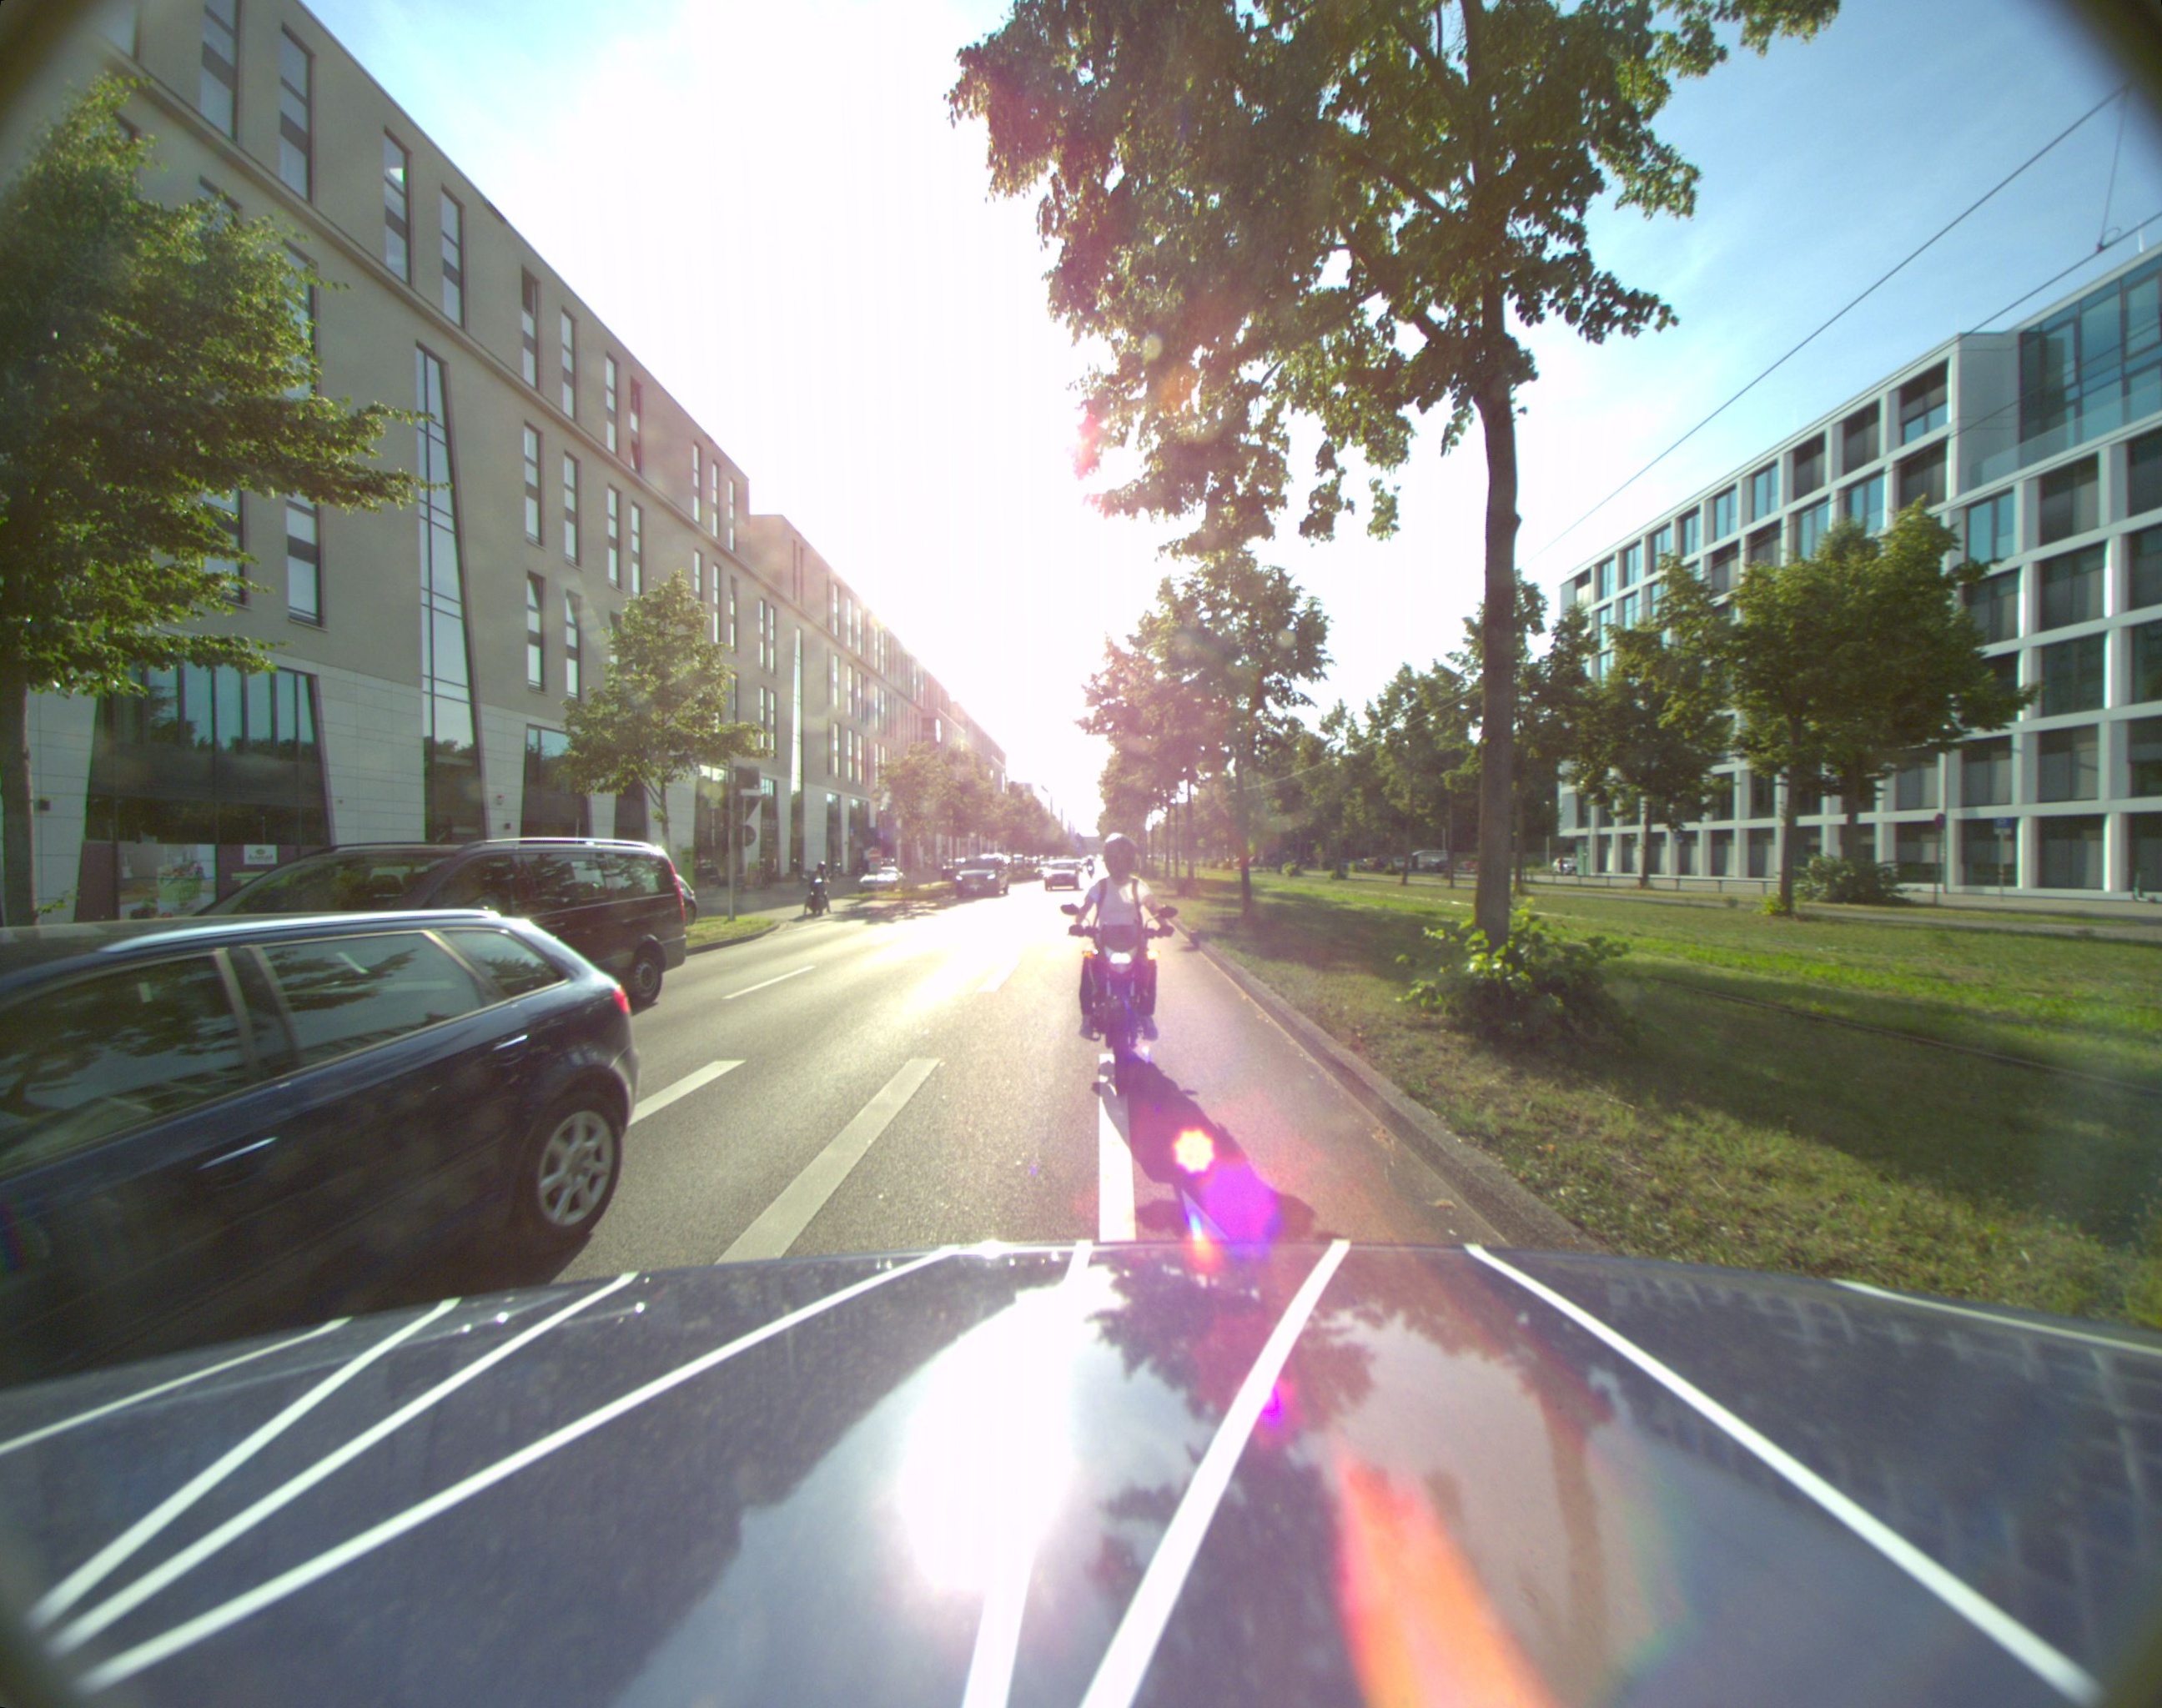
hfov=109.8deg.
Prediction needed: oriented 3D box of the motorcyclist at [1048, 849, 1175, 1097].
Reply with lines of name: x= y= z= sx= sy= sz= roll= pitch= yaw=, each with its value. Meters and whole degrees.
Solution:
motorcyclist: x=0.219 y=0.825 z=5.700 sx=0.814 sy=1.700 sz=0.843 roll=-2 pitch=1 yaw=1

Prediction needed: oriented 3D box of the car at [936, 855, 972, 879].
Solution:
car: x=-9.937 y=1.006 z=59.768 sx=1.902 sy=1.698 sz=4.678 roll=-2 pitch=0 yaw=0

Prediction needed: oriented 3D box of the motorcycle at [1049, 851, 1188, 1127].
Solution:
motorcycle: x=0.252 y=0.836 z=6.011 sx=0.798 sy=1.659 sz=2.634 roll=-2 pitch=1 yaw=1

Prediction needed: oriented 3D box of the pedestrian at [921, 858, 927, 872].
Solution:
pedestrian: x=-18.145 y=1.252 z=87.727 sx=0.515 sy=1.513 sz=0.597 roll=-2 pitch=1 yaw=1

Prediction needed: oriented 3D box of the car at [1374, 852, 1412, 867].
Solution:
car: x=38.329 y=0.644 z=93.399 sx=4.001 sy=1.633 sz=1.758 roll=-2 pitch=1 yaw=2

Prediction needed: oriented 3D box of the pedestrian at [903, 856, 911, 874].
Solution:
pedestrian: x=-17.146 y=1.066 z=74.892 sx=0.538 sy=1.752 sz=0.646 roll=-2 pitch=1 yaw=2

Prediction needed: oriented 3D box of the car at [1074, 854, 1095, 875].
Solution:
car: x=0.324 y=0.865 z=62.831 sx=1.644 sy=1.553 sz=3.734 roll=-2 pitch=1 yaw=1

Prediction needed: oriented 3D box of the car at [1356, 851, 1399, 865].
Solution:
car: x=40.237 y=0.548 z=103.097 sx=5.071 sy=1.725 sz=1.886 roll=-2 pitch=1 yaw=4

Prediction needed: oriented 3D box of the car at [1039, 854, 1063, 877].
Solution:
car: x=-2.544 y=0.933 z=64.783 sx=1.777 sy=1.805 sz=3.999 roll=-2 pitch=1 yaw=1

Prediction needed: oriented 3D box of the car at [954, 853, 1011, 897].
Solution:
car: x=-4.560 y=0.918 z=35.767 sx=1.864 sy=1.856 sz=4.778 roll=-2 pitch=1 yaw=1

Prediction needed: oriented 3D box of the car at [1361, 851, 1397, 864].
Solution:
car: x=39.477 y=0.508 z=100.736 sx=3.996 sy=1.551 sz=1.856 roll=-2 pitch=1 yaw=4

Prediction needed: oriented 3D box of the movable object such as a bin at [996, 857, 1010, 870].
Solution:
movable object such as a bin: x=-8.346 y=1.020 z=81.259 sx=1.280 sy=1.284 sz=1.178 roll=-2 pitch=1 yaw=-1

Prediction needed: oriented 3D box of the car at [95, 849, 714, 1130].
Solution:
car: x=-5.889 y=0.944 z=7.721 sx=1.803 sy=1.880 sz=4.821 roll=-2 pitch=1 yaw=2

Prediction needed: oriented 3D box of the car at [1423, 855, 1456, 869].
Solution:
car: x=37.980 y=0.828 z=80.604 sx=1.683 sy=1.385 sz=3.761 roll=-2 pitch=1 yaw=-1

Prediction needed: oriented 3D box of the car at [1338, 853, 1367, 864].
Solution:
car: x=40.369 y=0.722 z=113.026 sx=3.865 sy=1.477 sz=1.745 roll=-2 pitch=1 yaw=9

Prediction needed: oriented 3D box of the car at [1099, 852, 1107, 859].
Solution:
car: x=6.354 y=0.479 z=220.691 sx=1.998 sy=1.736 sz=3.999 roll=-2 pitch=1 yaw=1

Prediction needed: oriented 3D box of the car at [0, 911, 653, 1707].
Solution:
car: x=-2.982 y=1.040 z=1.596 sx=1.756 sy=1.427 sz=4.035 roll=-2 pitch=1 yaw=1

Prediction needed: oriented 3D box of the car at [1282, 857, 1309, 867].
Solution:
car: x=33.192 y=1.230 z=117.802 sx=1.689 sy=1.427 sz=4.026 roll=-3 pitch=1 yaw=-28

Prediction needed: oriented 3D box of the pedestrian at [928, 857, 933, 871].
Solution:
pedestrian: x=-17.413 y=1.195 z=87.756 sx=0.540 sy=1.565 sz=0.514 roll=-2 pitch=1 yaw=-13

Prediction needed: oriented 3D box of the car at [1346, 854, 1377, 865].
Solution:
car: x=39.030 y=0.780 z=105.879 sx=3.655 sy=1.420 sz=1.810 roll=-2 pitch=1 yaw=4

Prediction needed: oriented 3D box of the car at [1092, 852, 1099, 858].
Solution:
car: x=4.653 y=0.241 z=240.479 sx=1.998 sy=1.736 sz=3.999 roll=-2 pitch=1 yaw=1

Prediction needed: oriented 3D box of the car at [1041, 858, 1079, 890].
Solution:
car: x=-1.037 y=1.020 z=40.112 sx=1.739 sy=1.499 sz=4.000 roll=-2 pitch=1 yaw=1

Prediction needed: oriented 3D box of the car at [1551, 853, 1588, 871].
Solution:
car: x=48.283 y=0.738 z=75.170 sx=1.851 sy=1.586 sz=4.003 roll=-2 pitch=1 yaw=13

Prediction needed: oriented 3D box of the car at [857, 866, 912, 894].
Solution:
car: x=-10.073 y=1.300 z=39.261 sx=1.712 sy=1.235 sz=3.905 roll=-2 pitch=1 yaw=1

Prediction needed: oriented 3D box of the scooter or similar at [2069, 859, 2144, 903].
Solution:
scooter or similar: x=36.737 y=0.967 z=27.223 sx=1.933 sy=1.468 sz=0.415 roll=-2 pitch=1 yaw=6

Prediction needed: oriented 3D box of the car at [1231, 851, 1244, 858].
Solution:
car: x=31.467 y=0.068 z=152.515 sx=1.834 sy=1.423 sz=4.475 roll=-2 pitch=1 yaw=3

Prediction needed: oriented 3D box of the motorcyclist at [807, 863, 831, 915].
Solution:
motorcyclist: x=-8.378 y=1.106 z=24.300 sx=0.625 sy=1.631 sz=0.417 roll=0 pitch=1 yaw=-2

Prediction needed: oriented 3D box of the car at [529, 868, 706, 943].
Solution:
car: x=-10.637 y=1.114 z=17.837 sx=1.611 sy=1.362 sz=4.156 roll=-2 pitch=1 yaw=-1

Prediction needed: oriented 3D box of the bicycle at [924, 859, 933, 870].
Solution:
bicycle: x=-15.617 y=1.063 z=77.762 sx=0.493 sy=1.110 sz=1.945 roll=0 pitch=1 yaw=2

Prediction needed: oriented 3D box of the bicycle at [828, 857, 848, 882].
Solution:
bicycle: x=-16.899 y=1.050 z=52.915 sx=0.557 sy=1.610 sz=2.212 roll=-2 pitch=1 yaw=3

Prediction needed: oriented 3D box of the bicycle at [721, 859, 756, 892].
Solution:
bicycle: x=-17.403 y=1.068 z=38.645 sx=0.557 sy=1.562 sz=2.276 roll=-2 pitch=1 yaw=3

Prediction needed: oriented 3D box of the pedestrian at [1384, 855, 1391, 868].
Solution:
pedestrian: x=36.574 y=0.905 z=90.636 sx=0.523 sy=1.472 sz=0.568 roll=-2 pitch=1 yaw=1

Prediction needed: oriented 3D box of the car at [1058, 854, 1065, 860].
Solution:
car: x=-5.374 y=0.912 z=211.872 sx=1.840 sy=1.521 sz=4.328 roll=-2 pitch=1 yaw=2

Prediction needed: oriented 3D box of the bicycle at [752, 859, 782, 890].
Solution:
bicycle: x=-17.189 y=1.104 z=41.657 sx=0.557 sy=1.558 sz=2.212 roll=-2 pitch=1 yaw=3

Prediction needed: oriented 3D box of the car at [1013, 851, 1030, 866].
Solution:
car: x=-8.074 y=0.596 z=103.625 sx=1.842 sy=1.865 sz=5.030 roll=-2 pitch=1 yaw=-1

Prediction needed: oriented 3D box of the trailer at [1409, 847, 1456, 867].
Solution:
trailer: x=39.015 y=0.294 z=84.433 sx=4.373 sy=2.042 sz=1.758 roll=-2 pitch=1 yaw=5

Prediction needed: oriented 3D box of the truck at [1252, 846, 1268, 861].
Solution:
truck: x=43.389 y=-0.150 z=184.262 sx=2.894 sy=3.496 sz=7.947 roll=-2 pitch=1 yaw=6

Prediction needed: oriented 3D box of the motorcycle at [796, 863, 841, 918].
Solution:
motorcycle: x=-8.344 y=1.132 z=24.248 sx=0.703 sy=1.608 sz=2.011 roll=-2 pitch=1 yaw=0

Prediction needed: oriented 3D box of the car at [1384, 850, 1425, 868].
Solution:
car: x=38.437 y=0.608 z=90.353 sx=4.001 sy=1.936 sz=1.758 roll=-2 pitch=1 yaw=2

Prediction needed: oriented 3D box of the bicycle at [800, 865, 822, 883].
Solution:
bicycle: x=-17.045 y=1.260 z=47.963 sx=0.635 sy=1.077 sz=1.905 roll=0 pitch=0 yaw=2
